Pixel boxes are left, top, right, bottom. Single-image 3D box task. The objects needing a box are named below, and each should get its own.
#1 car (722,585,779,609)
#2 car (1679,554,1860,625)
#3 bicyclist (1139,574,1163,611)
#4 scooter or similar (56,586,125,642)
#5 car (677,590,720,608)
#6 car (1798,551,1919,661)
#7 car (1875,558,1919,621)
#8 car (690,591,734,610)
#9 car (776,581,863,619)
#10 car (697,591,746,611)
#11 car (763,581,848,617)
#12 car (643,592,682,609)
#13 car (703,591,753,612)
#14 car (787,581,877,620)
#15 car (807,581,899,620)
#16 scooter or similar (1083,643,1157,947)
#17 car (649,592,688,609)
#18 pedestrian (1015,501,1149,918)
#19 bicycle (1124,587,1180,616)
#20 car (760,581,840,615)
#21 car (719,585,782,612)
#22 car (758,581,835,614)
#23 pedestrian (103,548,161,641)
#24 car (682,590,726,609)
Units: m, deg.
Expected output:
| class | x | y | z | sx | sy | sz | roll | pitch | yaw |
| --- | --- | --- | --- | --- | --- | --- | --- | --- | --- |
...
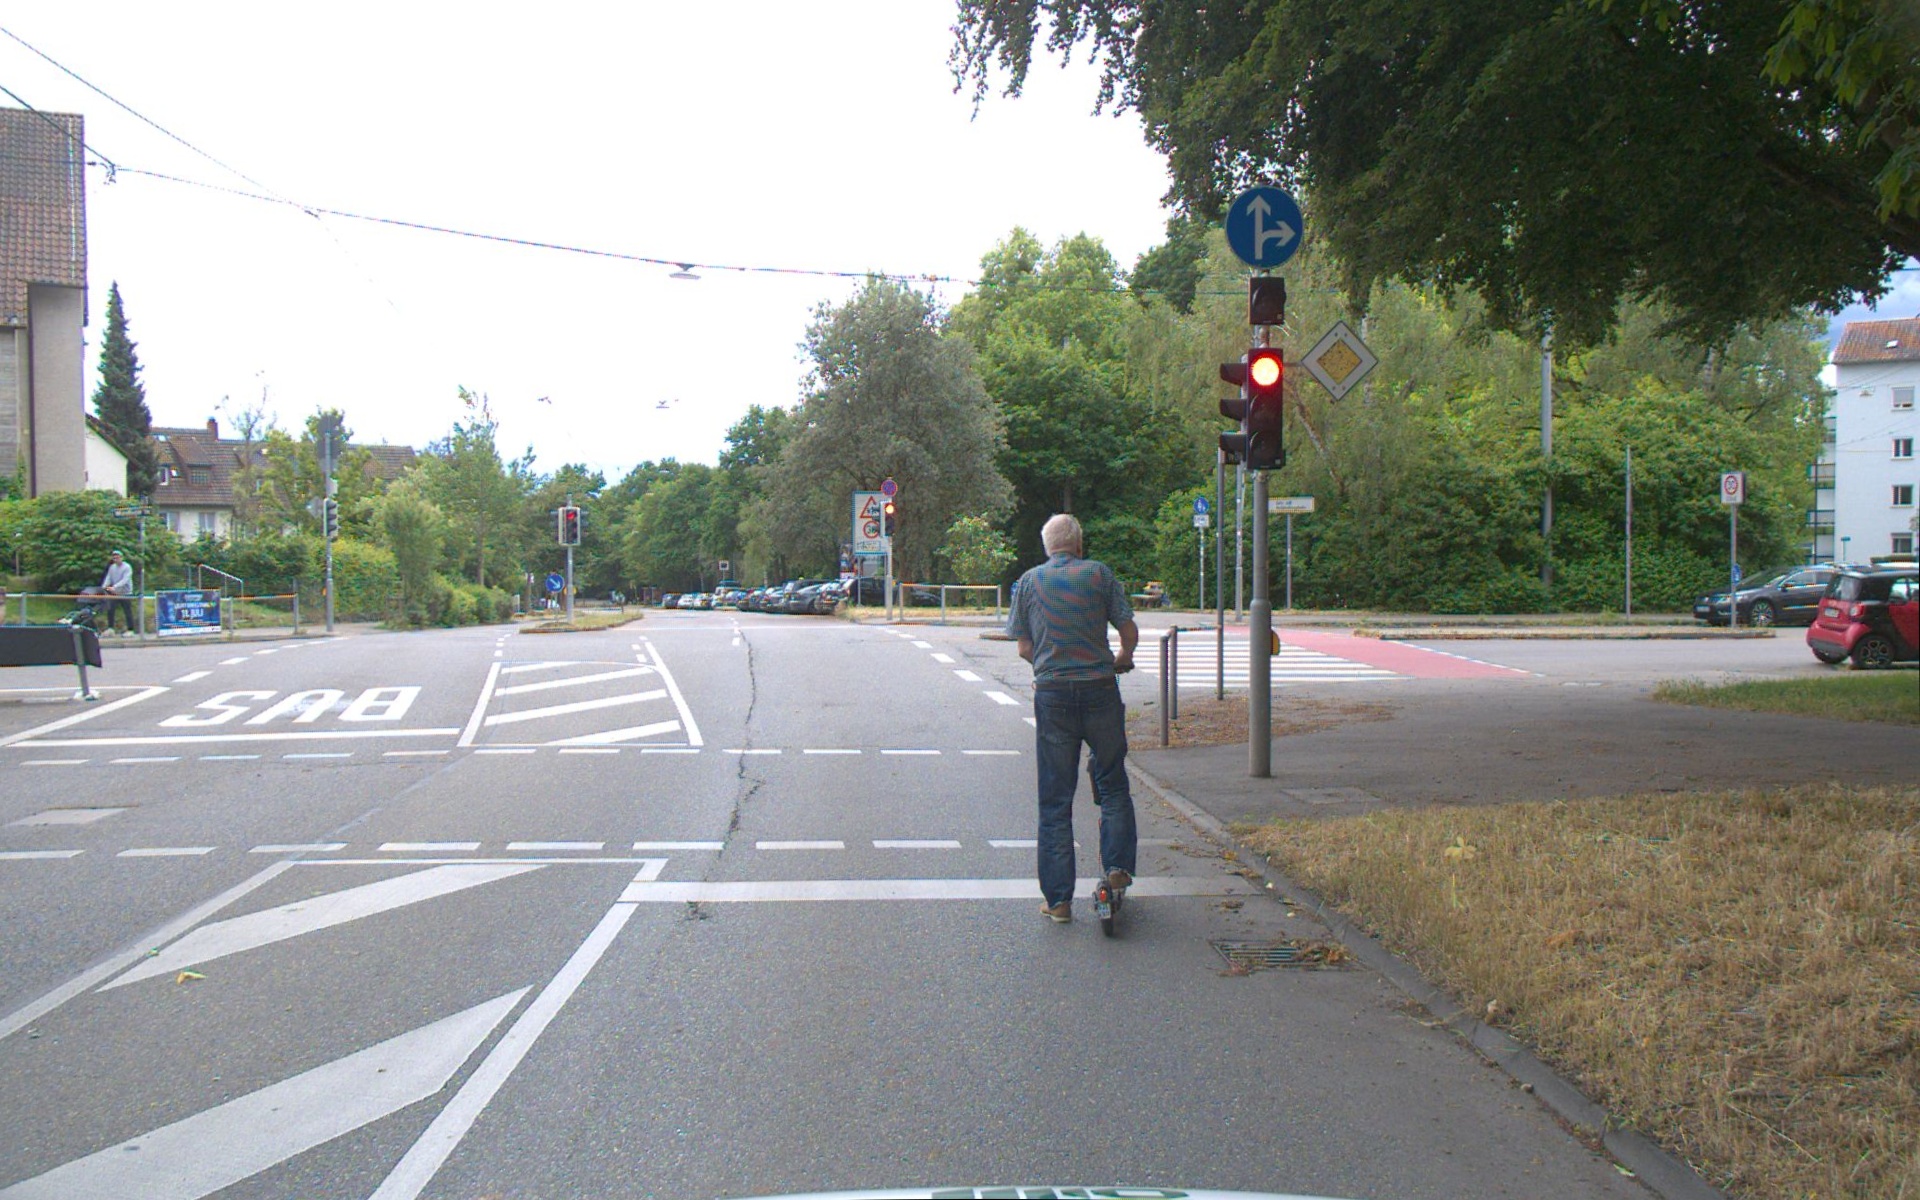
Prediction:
| class | x | y | z | sx | sy | sz | roll | pitch | yaw |
| --- | --- | --- | --- | --- | --- | --- | --- | --- | --- |
| car | -15.427 | -0.226 | 121.657 | 3.790 | 1.639 | 1.716 | -2 | 1 | -24 |
| car | 19.154 | -0.263 | 39.233 | 3.444 | 1.557 | 1.729 | -2 | 1 | 5 |
| bicyclist | 6.633 | -0.260 | 57.395 | 0.666 | 1.270 | 0.491 | 2 | 0 | -19 |
| scooter or similar | -17.402 | 0.278 | 33.120 | 0.564 | 1.100 | 1.111 | -1 | 1 | 22 |
| car | -25.037 | -0.090 | 158.391 | 3.790 | 1.639 | 1.716 | -2 | 1 | -24 |
| car | 15.255 | 0.047 | 25.832 | 3.444 | 1.639 | 1.729 | -2 | 1 | 4 |
| car | 26.406 | -0.336 | 45.812 | 1.689 | 1.639 | 3.850 | -1 | 1 | 27 |
| car | -23.047 | 0.010 | 153.718 | 3.790 | 1.639 | 1.716 | -2 | 1 | -24 |
| car | -6.719 | -0.013 | 79.196 | 3.790 | 1.639 | 1.716 | -2 | 1 | -24 |
| car | -20.540 | 0.086 | 142.451 | 3.790 | 1.639 | 1.716 | -2 | 1 | -24 |
| car | -7.570 | -0.067 | 81.218 | 3.790 | 1.639 | 1.716 | -2 | 1 | -24 |
| car | -31.916 | 0.070 | 177.484 | 3.790 | 1.639 | 1.716 | -2 | 1 | -24 |
| car | -19.446 | 0.118 | 138.792 | 3.790 | 1.639 | 1.716 | -2 | 1 | -24 |
| car | -5.925 | 0.007 | 76.666 | 3.792 | 1.639 | 1.715 | -2 | 1 | -25 |
| car | -4.841 | 0.013 | 74.712 | 3.787 | 1.639 | 1.717 | -2 | 1 | -22 |
| scooter or similar | 0.729 | 0.817 | 7.391 | 0.276 | 1.199 | 1.178 | -1 | 1 | 7 |
| car | -30.907 | 0.012 | 175.162 | 3.790 | 1.639 | 1.716 | -2 | 1 | -24 |
| pedestrian | 0.567 | 0.486 | 7.564 | 0.560 | 1.845 | 0.421 | -1 | 0 | 7 |
| bicycle | 6.665 | 0.057 | 57.407 | 1.891 | 0.975 | 0.491 | 2 | 0 | -20 |
| car | -8.358 | -0.130 | 86.520 | 3.790 | 1.639 | 1.716 | -2 | 1 | -24 |
| car | -13.772 | -0.088 | 108.713 | 3.790 | 1.639 | 1.716 | -2 | 1 | -24 |
| car | -8.797 | -0.143 | 88.926 | 3.790 | 1.639 | 1.716 | -2 | 1 | -24 |
| pedestrian | -17.041 | -0.117 | 34.060 | 0.561 | 1.895 | 0.887 | -1 | 1 | 23 |
| car | -24.106 | -0.063 | 155.835 | 3.790 | 1.639 | 1.716 | -2 | 1 | -24 |
